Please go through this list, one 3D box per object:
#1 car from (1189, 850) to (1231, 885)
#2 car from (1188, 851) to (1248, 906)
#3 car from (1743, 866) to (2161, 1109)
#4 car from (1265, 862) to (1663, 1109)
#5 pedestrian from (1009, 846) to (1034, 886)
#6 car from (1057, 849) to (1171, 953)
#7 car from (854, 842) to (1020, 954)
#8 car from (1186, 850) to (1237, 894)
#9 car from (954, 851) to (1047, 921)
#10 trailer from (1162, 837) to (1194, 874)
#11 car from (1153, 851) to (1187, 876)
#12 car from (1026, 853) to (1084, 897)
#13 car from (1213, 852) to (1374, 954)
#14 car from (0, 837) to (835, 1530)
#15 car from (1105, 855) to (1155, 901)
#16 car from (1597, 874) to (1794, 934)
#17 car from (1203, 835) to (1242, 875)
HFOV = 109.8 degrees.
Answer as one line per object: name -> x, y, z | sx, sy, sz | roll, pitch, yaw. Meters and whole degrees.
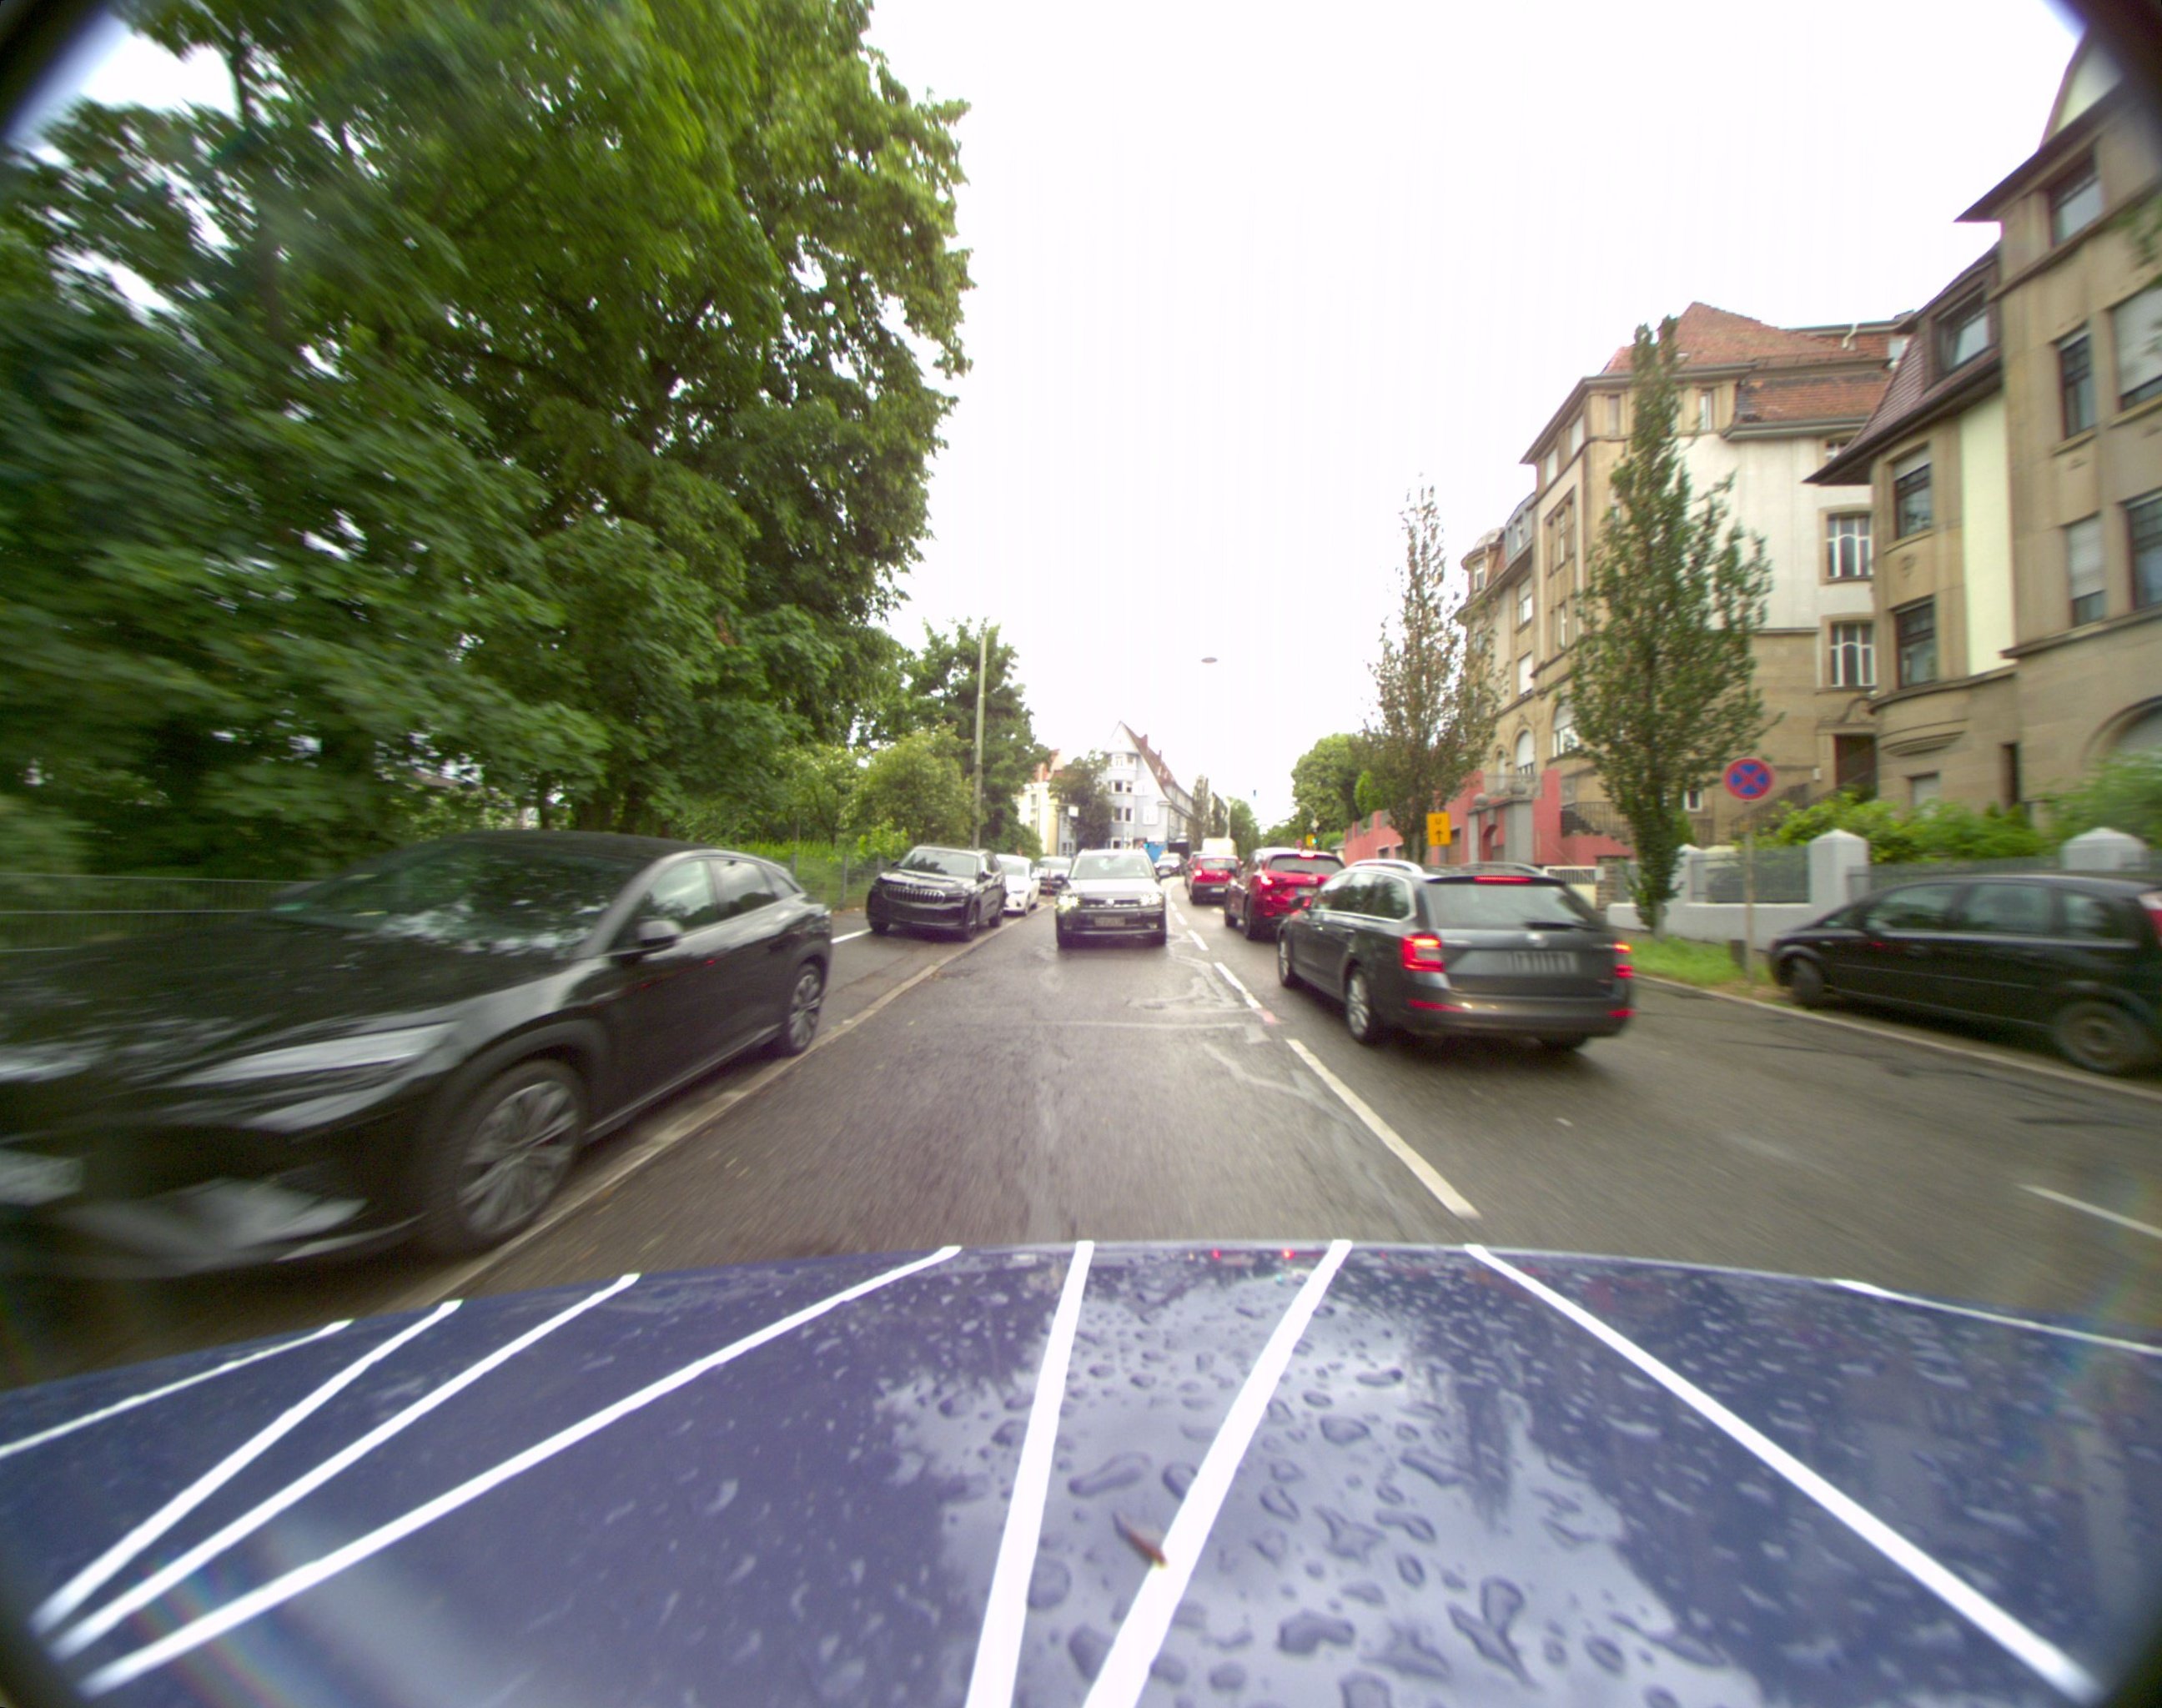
car -> 6.289, 0.597, 37.365 | 1.878, 1.565, 4.588 | 0, 1, 8
car -> 4.291, 0.722, 24.284 | 1.658, 1.559, 4.002 | -1, 1, 7
car -> 8.973, 1.021, 7.320 | 1.819, 1.603, 4.000 | -2, 1, 3
car -> 2.970, 0.865, 7.037 | 1.742, 1.465, 4.282 | 0, 1, 4
pedestrian -> -2.440, 0.478, 31.073 | 0.767, 1.596, 0.966 | 2, 1, 9
car -> 0.681, 0.736, 14.044 | 1.785, 1.632, 4.201 | 0, 0, 5
car -> -2.567, 0.694, 14.853 | 1.825, 1.673, 4.805 | 5, 1, 5
car -> 5.197, 0.681, 30.665 | 1.777, 1.489, 4.264 | 4, 1, 7
car -> -2.081, 0.776, 20.705 | 1.819, 1.487, 3.999 | 5, 2, 2
trailer -> 7.284, 0.096, 56.785 | 1.768, 2.610, 3.036 | -2, 1, 17
car -> 6.325, 0.678, 53.706 | 1.734, 1.610, 3.479 | -1, 1, 18
car -> -0.959, 0.772, 29.930 | 1.652, 1.397, 3.813 | 4, 3, 7
car -> 3.807, 0.789, 14.453 | 1.850, 1.575, 4.278 | 2, 1, 1
car -> -3.124, 0.752, 4.086 | 1.980, 1.600, 4.484 | 2, 2, 2
car -> 1.936, 0.860, 29.702 | 1.785, 1.632, 4.201 | 0, 0, 4
car -> 15.639, 1.243, 19.492 | 3.559, 1.391, 1.789 | 0, 0, 3
car -> 9.528, 0.031, 50.915 | 2.120, 2.531, 5.545 | 0, 1, 15
